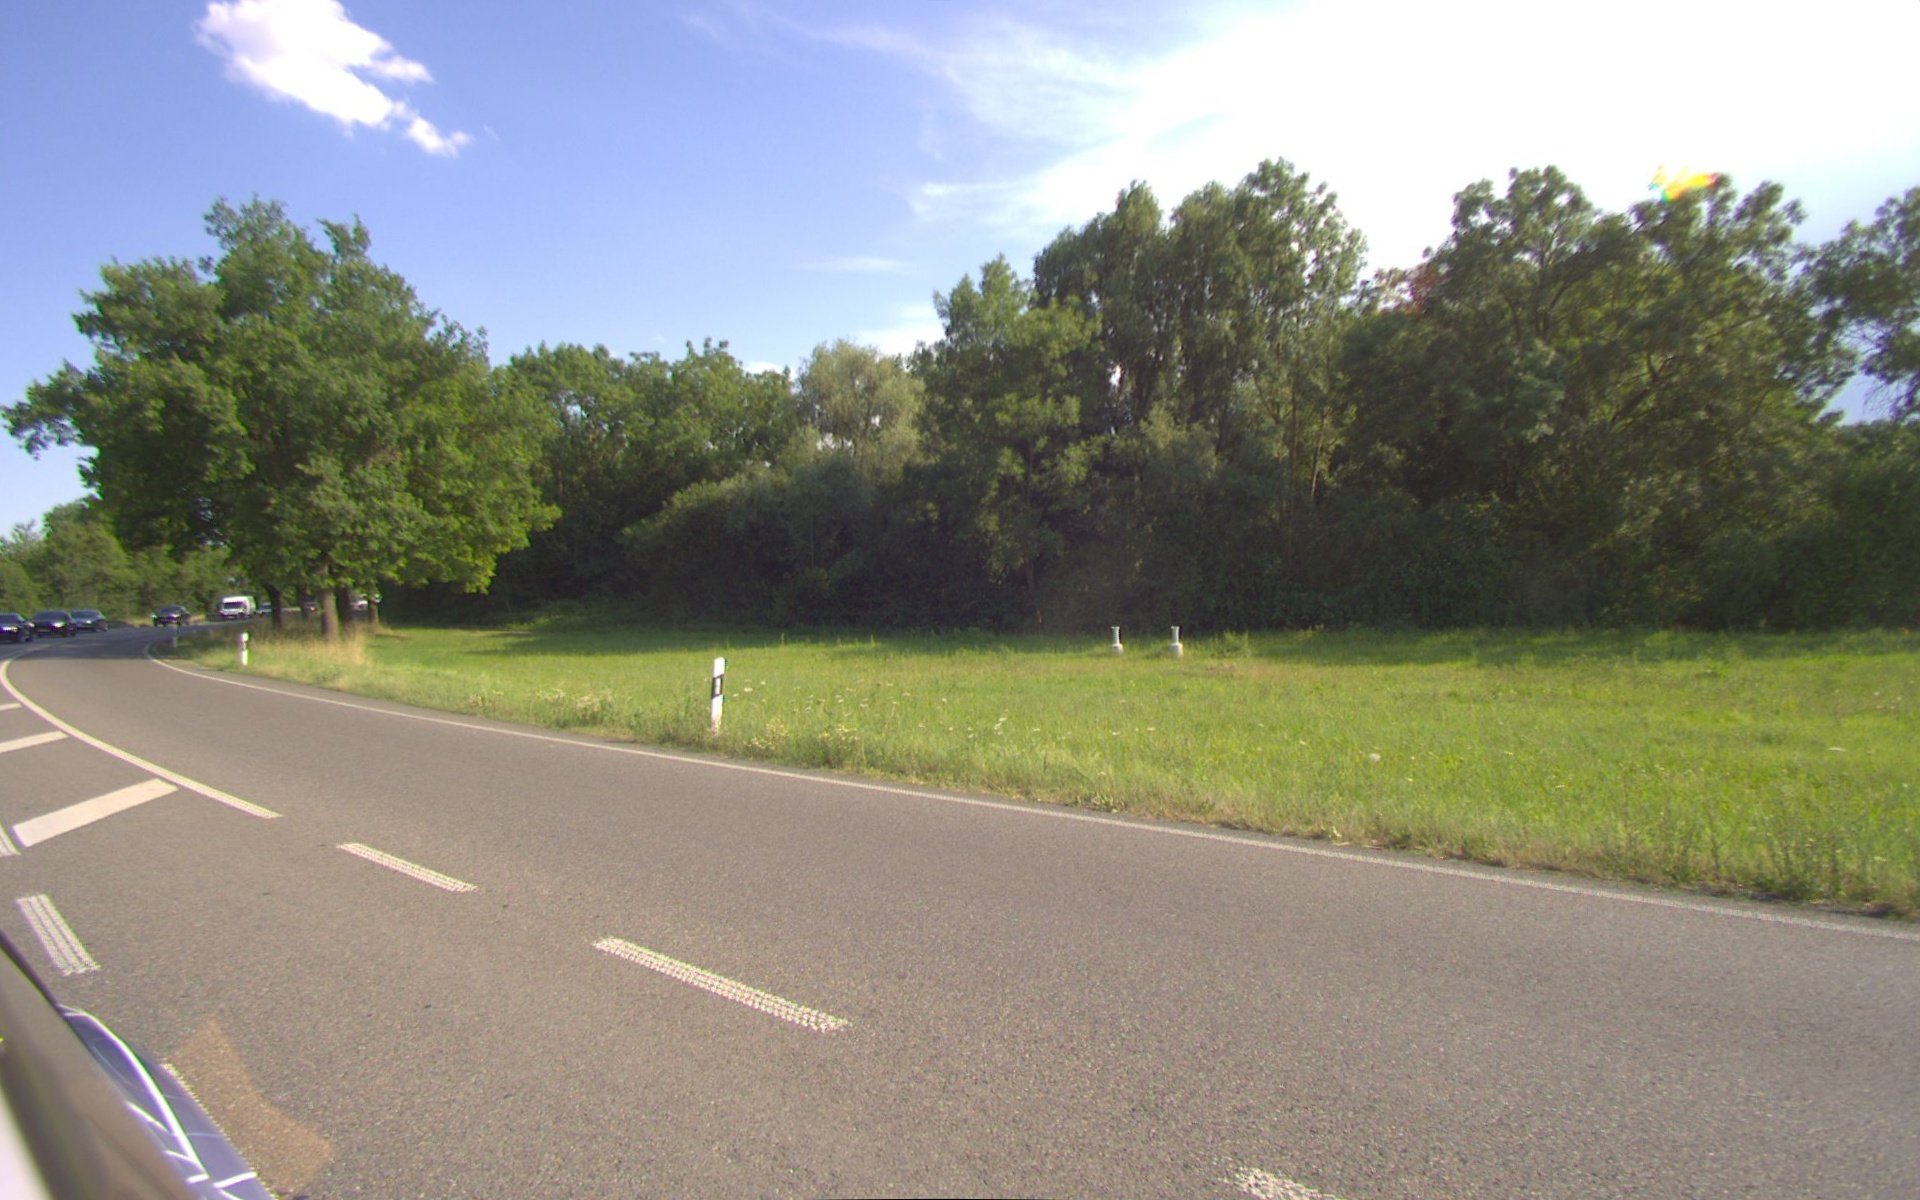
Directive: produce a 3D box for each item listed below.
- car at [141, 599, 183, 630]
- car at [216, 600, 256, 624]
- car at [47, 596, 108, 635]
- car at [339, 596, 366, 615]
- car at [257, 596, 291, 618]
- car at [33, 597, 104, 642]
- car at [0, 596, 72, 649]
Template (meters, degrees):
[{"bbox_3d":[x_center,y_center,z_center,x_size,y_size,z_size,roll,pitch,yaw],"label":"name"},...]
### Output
[{"bbox_3d":[-65.921,1.180,83.648,2.054,2.435,5.158,-1,0,-31],"label":"car"},{"bbox_3d":[-76.279,1.220,106.659,2.054,2.435,5.159,-1,0,-19],"label":"car"},{"bbox_3d":[-57.183,0.953,65.669,2.054,2.435,5.158,-1,0,-31],"label":"car"},{"bbox_3d":[-80.702,0.693,134.495,2.054,2.435,5.159,-1,0,-19],"label":"car"},{"bbox_3d":[-80.889,0.809,119.381,2.054,2.435,5.159,-1,0,-19],"label":"car"},{"bbox_3d":[-50.631,1.040,57.572,2.054,2.435,5.158,-1,0,-31],"label":"car"},{"bbox_3d":[-44.874,1.031,48.852,2.054,2.435,5.158,-1,0,-31],"label":"car"}]
